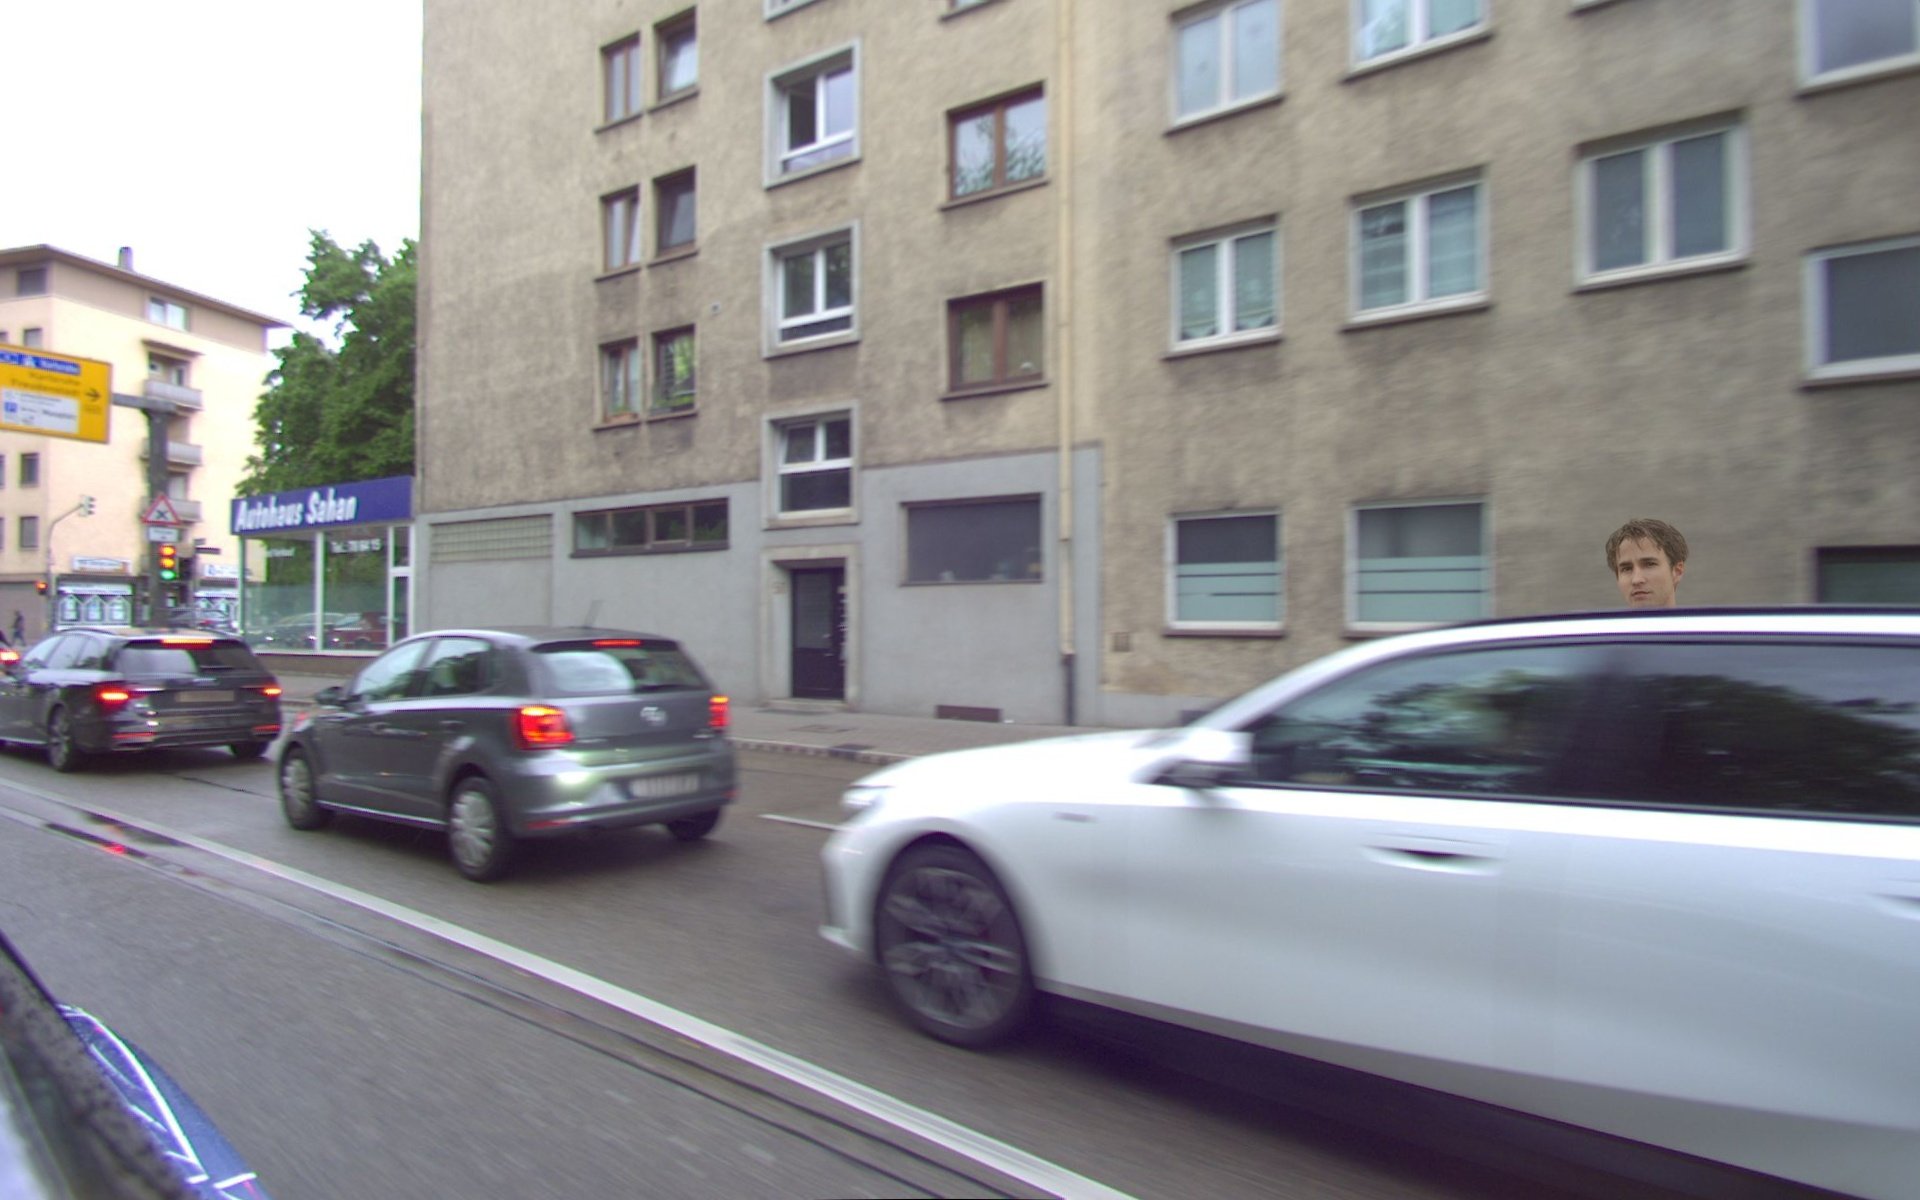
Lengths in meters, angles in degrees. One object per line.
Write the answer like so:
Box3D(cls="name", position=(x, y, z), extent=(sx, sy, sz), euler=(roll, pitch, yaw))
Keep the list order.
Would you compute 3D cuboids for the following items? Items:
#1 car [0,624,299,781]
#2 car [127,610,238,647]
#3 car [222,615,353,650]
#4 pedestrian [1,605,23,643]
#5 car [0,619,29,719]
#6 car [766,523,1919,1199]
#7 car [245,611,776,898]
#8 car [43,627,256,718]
Box3D(cls="car", position=(-9.361, 0.977, 11.170), extent=(4.612, 1.418, 1.776), euler=(-1, -2, 34))
Box3D(cls="car", position=(-37.582, 1.352, 48.943), extent=(4.230, 1.660, 1.756), euler=(1, -1, 7))
Box3D(cls="car", position=(-29.971, 1.420, 45.233), extent=(1.993, 1.474, 4.457), euler=(-1, -1, 32))
Box3D(cls="pedestrian", position=(-41.172, 1.053, 43.969), extent=(0.617, 1.651, 0.575), euler=(-1, -2, 37))
Box3D(cls="car", position=(-16.563, 1.041, 15.860), extent=(4.201, 1.507, 1.772), euler=(-1, -3, 31))
Box3D(cls="car", position=(1.749, 0.666, 3.082), extent=(5.023, 1.528, 1.802), euler=(-1, -3, 39))
Box3D(cls="car", position=(-3.213, 0.842, 6.979), extent=(3.813, 1.458, 1.664), euler=(-1, -3, 36))
Box3D(cls="car", position=(-14.500, 1.237, 18.068), extent=(3.985, 1.467, 1.645), euler=(-1, -3, 31))
